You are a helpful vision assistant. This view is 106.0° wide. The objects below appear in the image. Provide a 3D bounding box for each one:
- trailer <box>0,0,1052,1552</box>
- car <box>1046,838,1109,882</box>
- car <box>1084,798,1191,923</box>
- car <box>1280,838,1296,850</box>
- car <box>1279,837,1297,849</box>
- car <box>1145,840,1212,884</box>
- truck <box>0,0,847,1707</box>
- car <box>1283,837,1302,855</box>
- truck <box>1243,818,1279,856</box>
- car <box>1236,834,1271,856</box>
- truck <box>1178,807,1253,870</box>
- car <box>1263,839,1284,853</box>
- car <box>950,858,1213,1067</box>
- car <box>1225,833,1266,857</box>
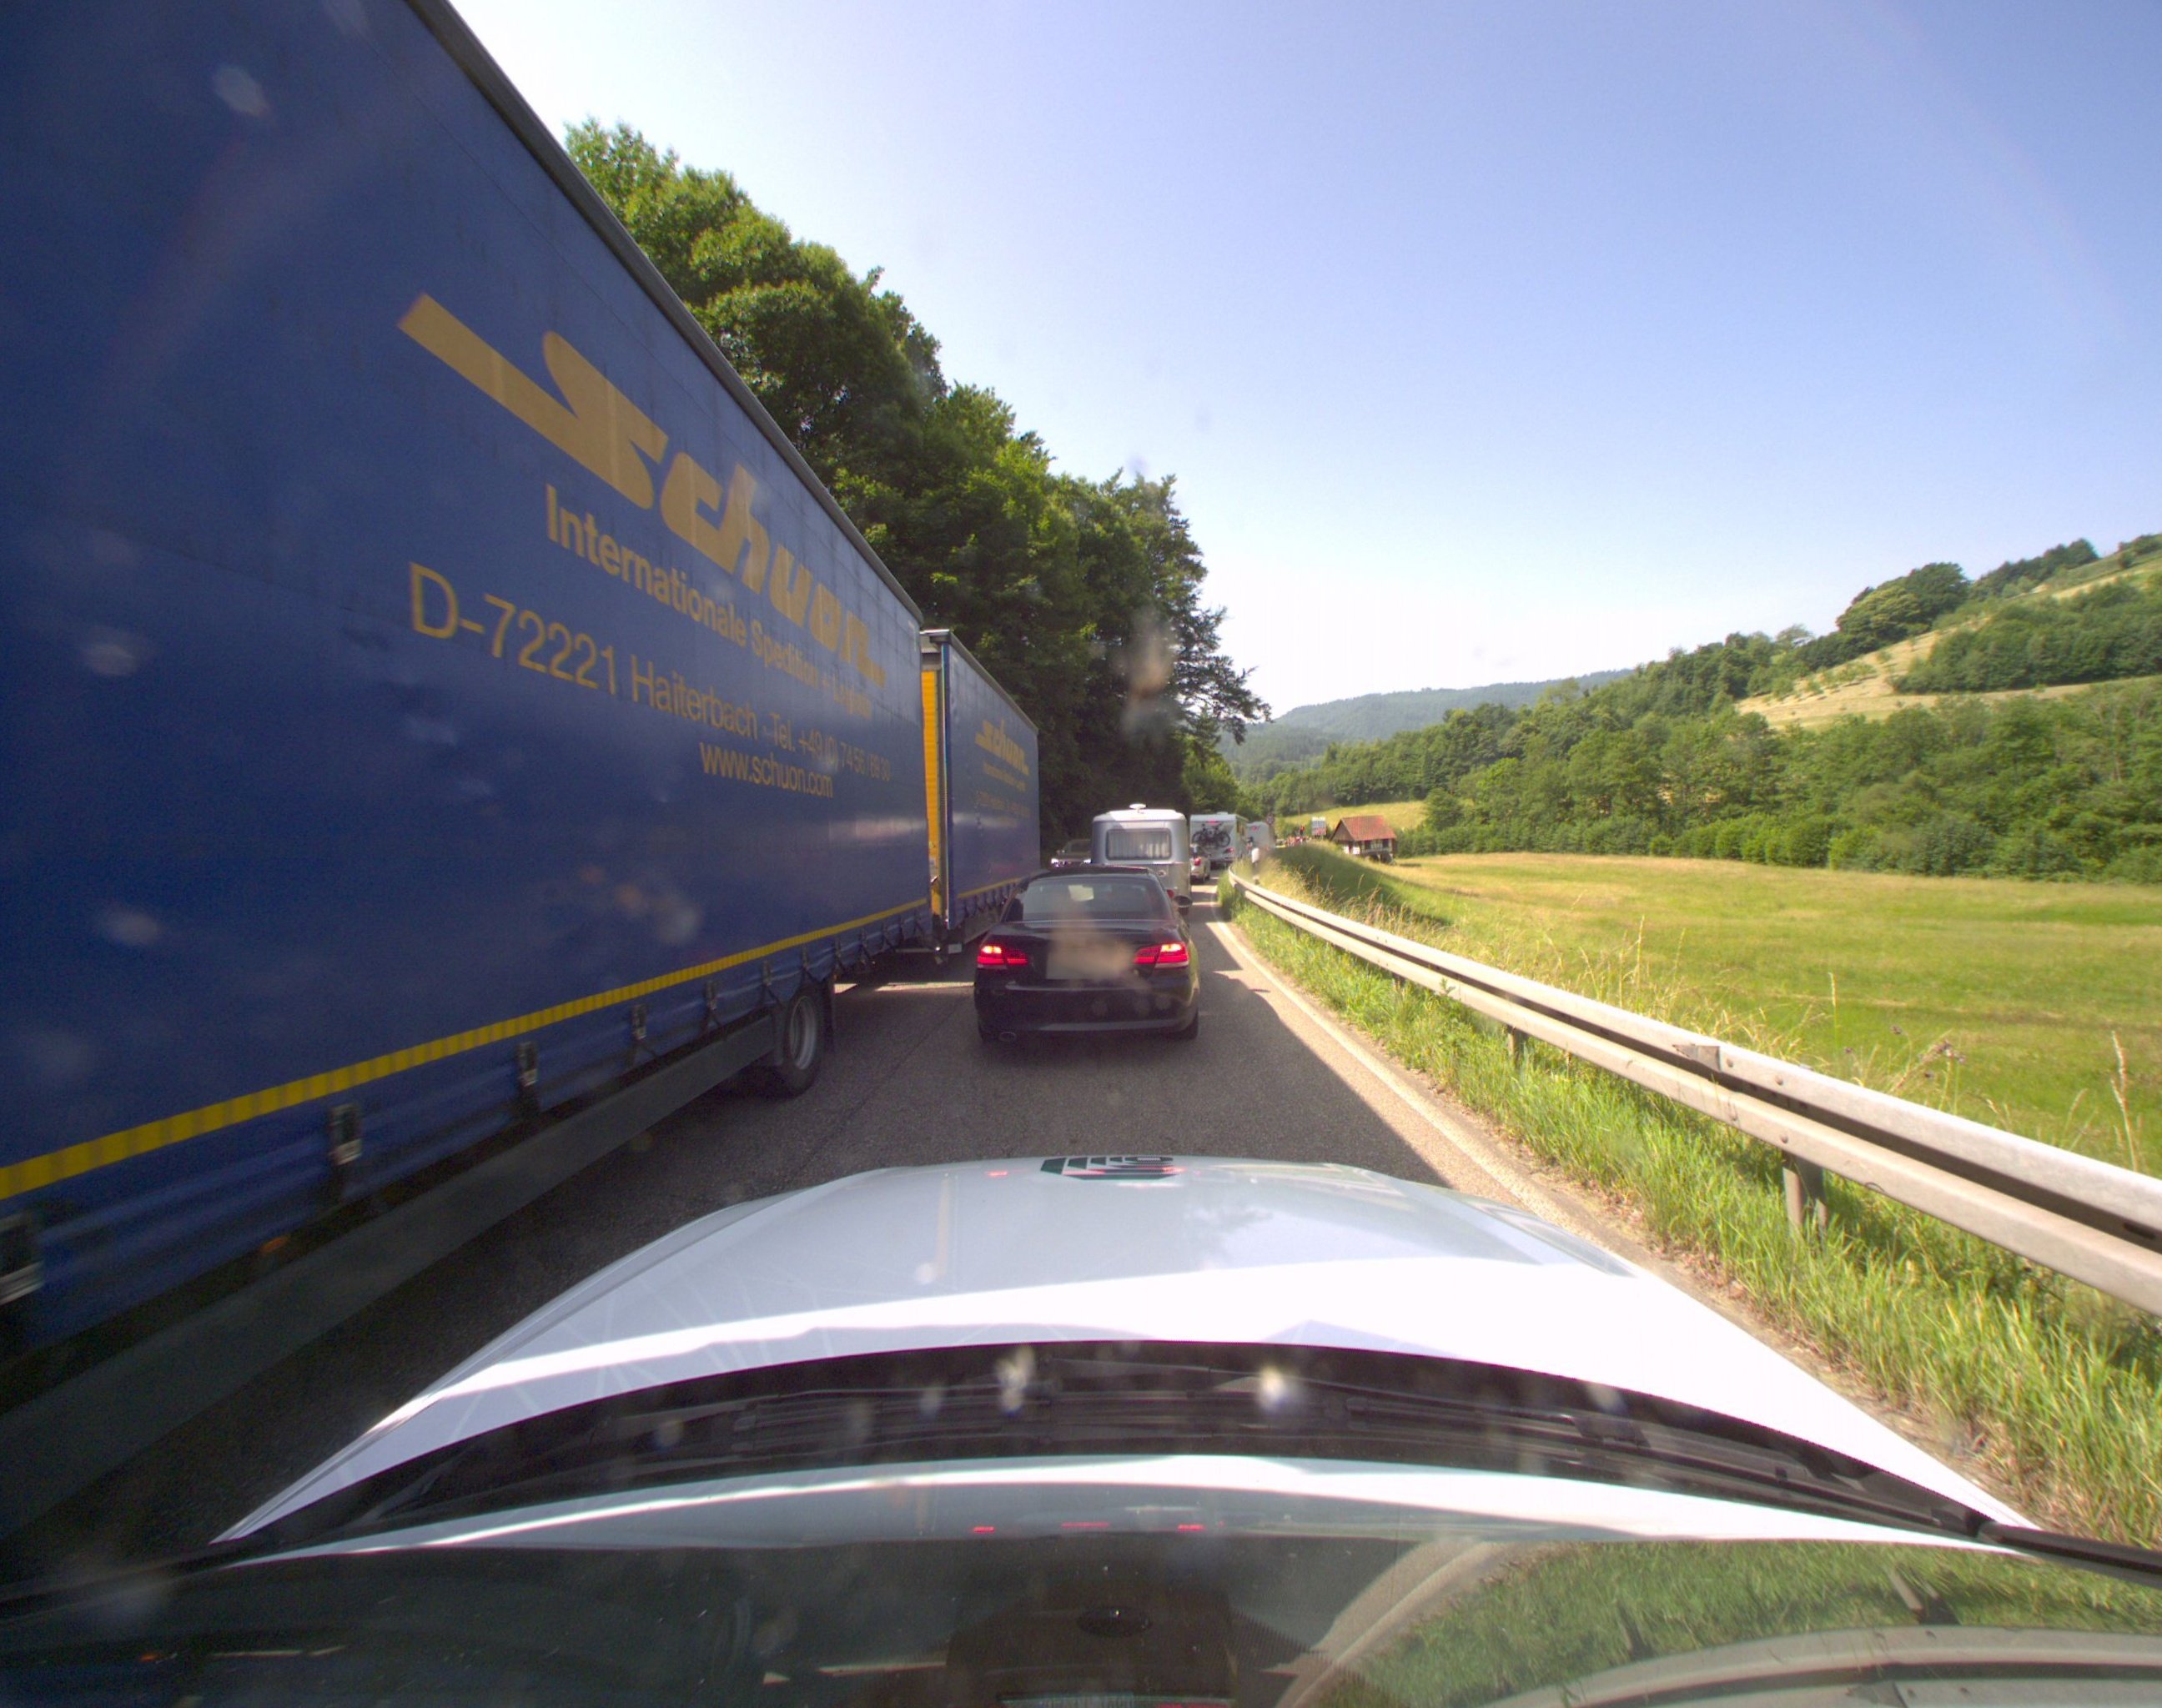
[{"bbox_3d":[-2.747,-0.732,9.596,3.245,4.417,15.332,-1,1,4],"label":"trailer"},{"bbox_3d":[-0.055,0.166,31.330,1.811,1.584,4.093,0,1,9],"label":"car"},{"bbox_3d":[1.371,0.079,17.867,1.983,2.353,4.924,-1,1,7],"label":"car"},{"bbox_3d":[31.003,-1.525,121.909,1.977,1.684,4.020,0,-1,20],"label":"car"},{"bbox_3d":[28.642,-1.483,112.604,1.977,1.575,4.020,0,0,20],"label":"car"},{"bbox_3d":[3.666,0.252,30.150,1.979,1.484,4.015,1,1,13],"label":"car"},{"bbox_3d":[-3.198,-0.594,1.732,3.175,4.396,6.577,0,2,3],"label":"truck"},{"bbox_3d":[24.728,-0.902,95.069,1.979,1.925,4.016,2,0,15],"label":"car"},{"bbox_3d":[14.111,-1.291,63.610,2.220,2.804,6.260,0,0,17],"label":"truck"},{"bbox_3d":[12.189,-0.641,57.328,1.772,1.464,4.021,1,2,20],"label":"car"},{"bbox_3d":[7.102,-0.849,42.270,2.768,2.997,6.901,1,2,18],"label":"truck"},{"bbox_3d":[20.307,-0.825,85.851,1.892,1.486,4.017,0,0,16],"label":"car"},{"bbox_3d":[0.141,0.747,7.393,1.763,1.335,3.772,-1,1,4],"label":"car"},{"bbox_3d":[10.489,-0.616,51.808,1.977,1.464,4.020,1,2,19],"label":"car"}]
